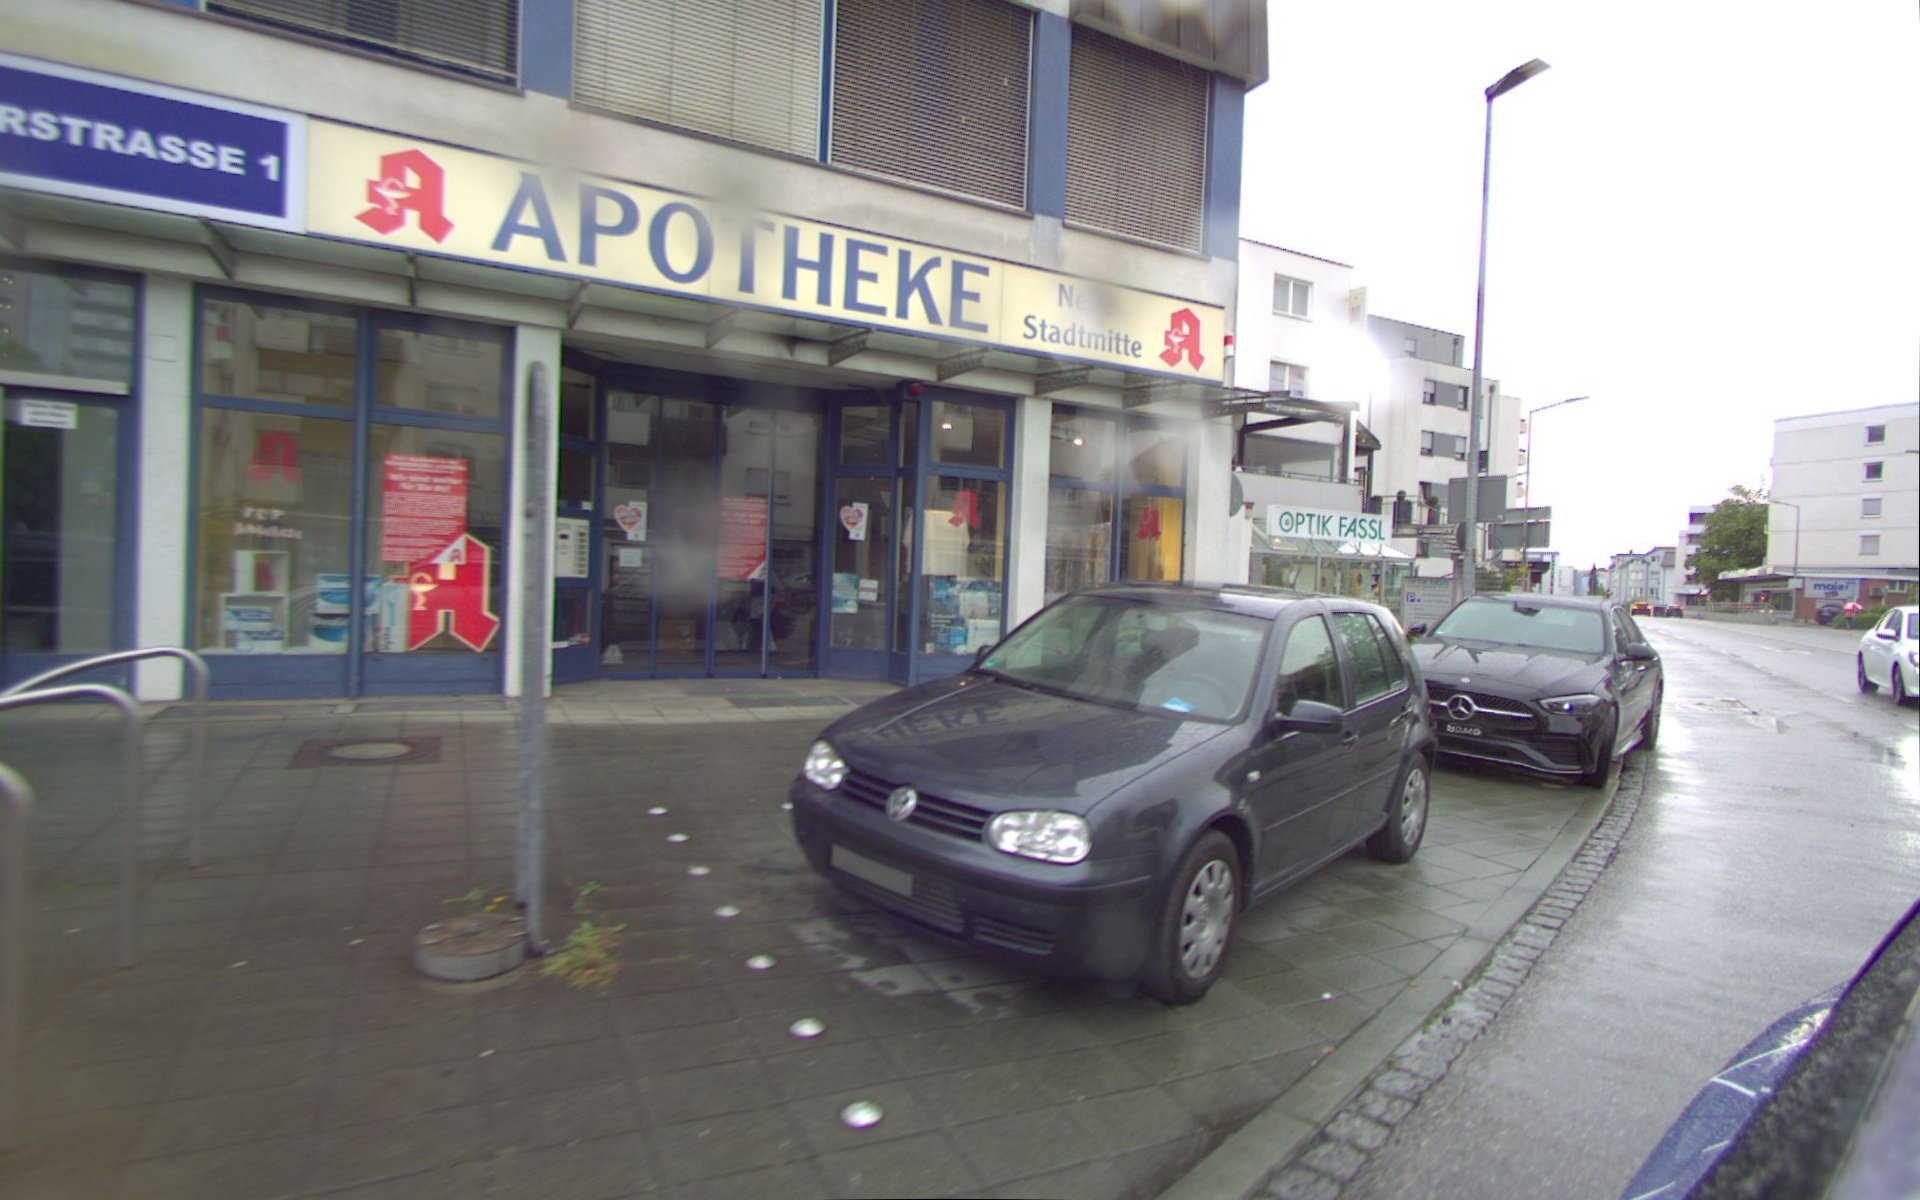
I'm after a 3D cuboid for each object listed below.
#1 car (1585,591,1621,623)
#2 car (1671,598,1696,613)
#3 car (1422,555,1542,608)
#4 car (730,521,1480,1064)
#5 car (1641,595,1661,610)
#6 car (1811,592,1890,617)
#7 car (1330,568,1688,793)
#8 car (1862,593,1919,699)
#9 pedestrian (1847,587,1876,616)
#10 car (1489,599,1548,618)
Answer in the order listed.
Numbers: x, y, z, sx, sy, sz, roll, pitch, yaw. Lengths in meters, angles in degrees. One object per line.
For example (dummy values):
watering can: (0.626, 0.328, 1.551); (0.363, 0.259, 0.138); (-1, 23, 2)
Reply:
car: (44.089, 0.506, 69.393); (1.985, 2.039, 3.953); (2, 0, 32)
car: (81.799, 0.621, 114.461); (1.688, 1.426, 3.961); (5, 1, 28)
car: (21.793, -0.757, 42.255); (4.680, 2.039, 2.004); (1, 1, -26)
car: (1.042, 0.522, 4.959); (1.698, 1.503, 3.940); (7, 4, 41)
car: (79.166, 0.265, 115.950); (1.796, 1.577, 4.265); (2, 0, 34)
car: (61.137, 0.325, 69.487); (4.376, 1.565, 2.005); (1, 2, -17)
car: (5.299, 0.554, 9.418); (1.992, 1.553, 4.578); (2, 1, 41)
car: (15.119, 0.690, 15.189); (1.819, 1.458, 4.290); (1, 0, 35)
pedestrian: (52.462, 0.099, 58.901); (0.862, 1.627, 1.095); (2, 2, 23)
car: (50.513, 0.788, 91.548); (1.835, 1.513, 4.275); (3, -1, -31)
